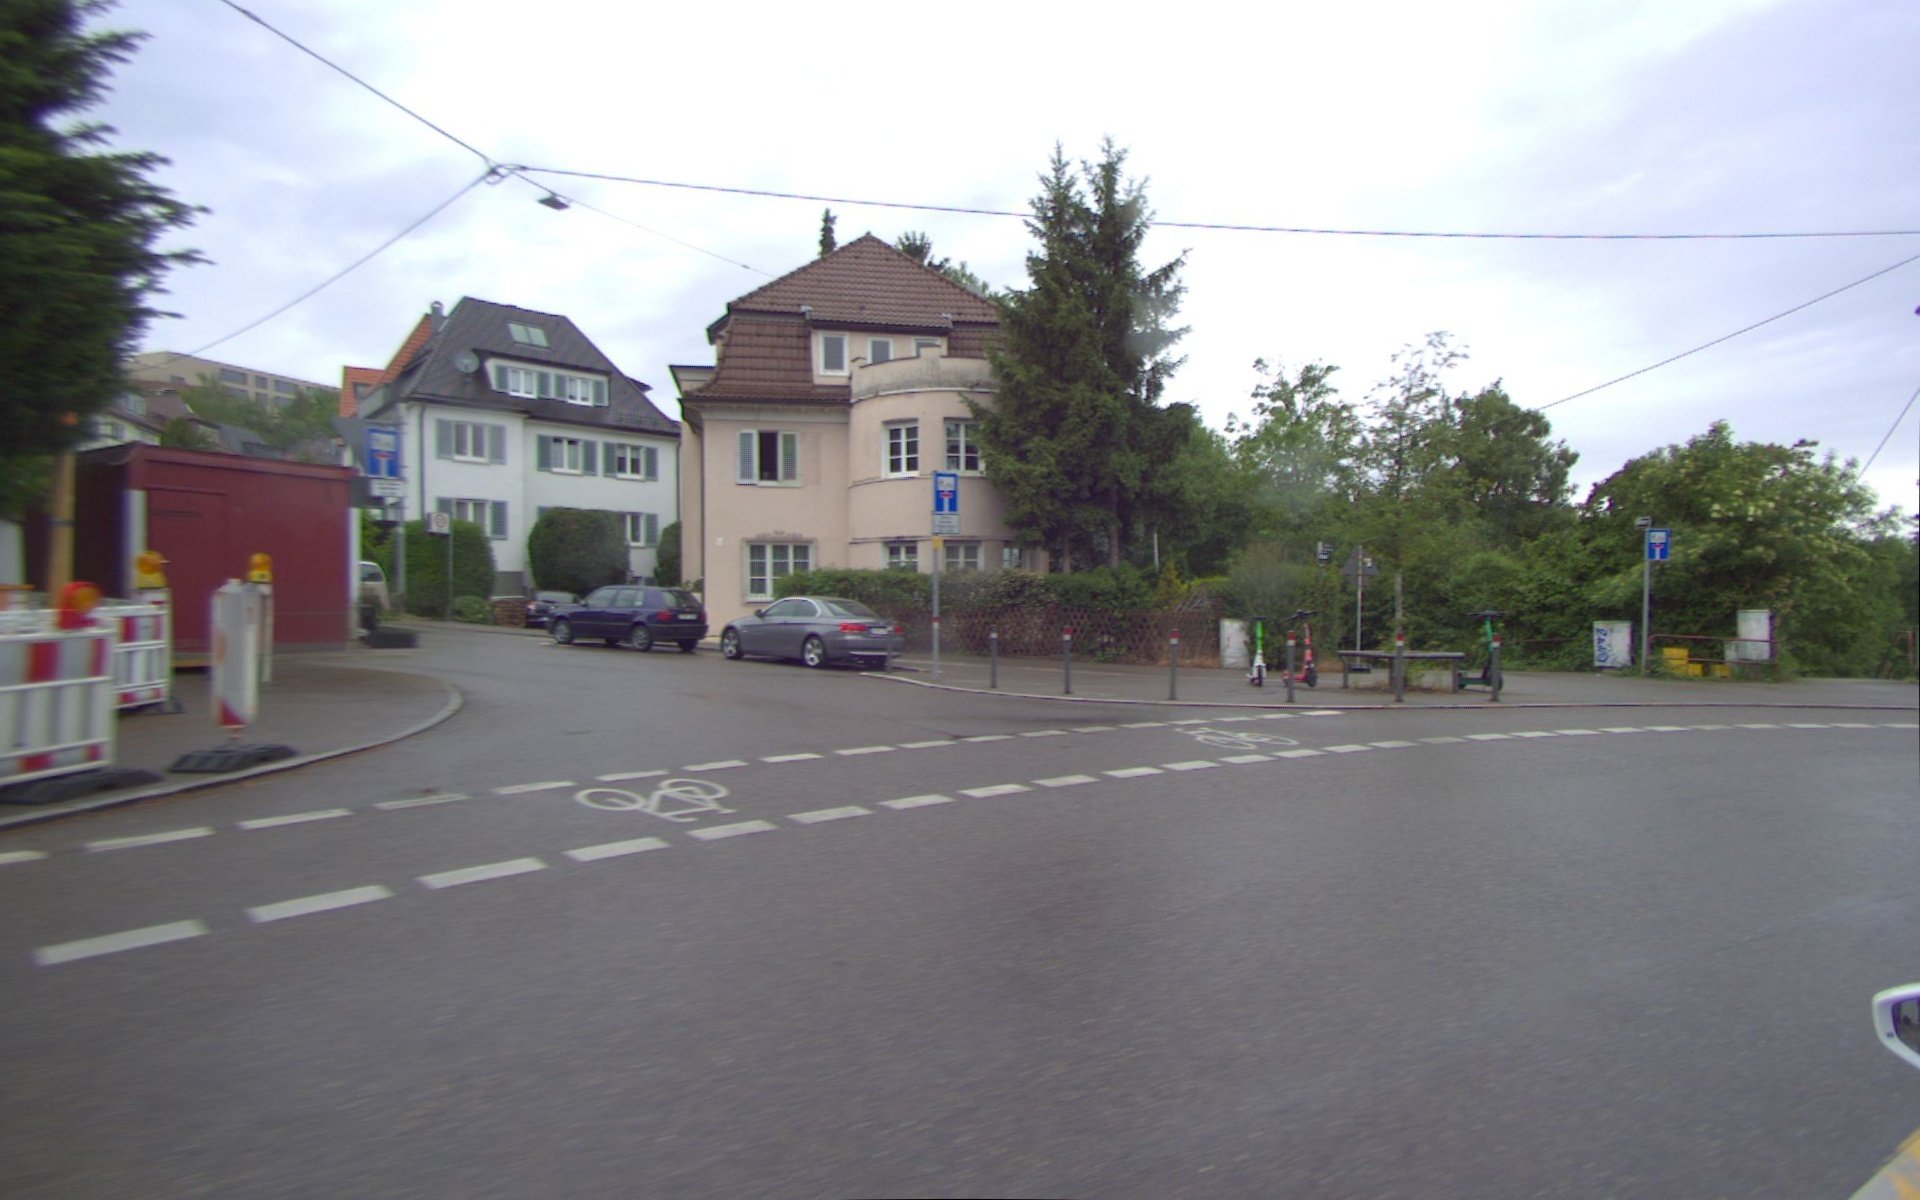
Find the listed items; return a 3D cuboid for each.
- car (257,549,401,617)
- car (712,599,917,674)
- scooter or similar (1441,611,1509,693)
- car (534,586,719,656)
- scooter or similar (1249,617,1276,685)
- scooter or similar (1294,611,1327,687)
[{"bbox_3d":[-17.951,-0.486,28.560,3.930,1.684,1.871,4,1,31],"label":"car"},{"bbox_3d":[-2.977,0.666,20.111,4.138,1.283,1.668,2,0,38],"label":"car"},{"bbox_3d":[8.190,0.808,16.000,0.240,1.234,1.031,1,1,-22],"label":"scooter or similar"},{"bbox_3d":[-7.725,0.442,23.199,4.127,1.421,1.673,1,0,28],"label":"car"},{"bbox_3d":[5.076,0.835,16.882,0.238,1.083,1.037,1,0,7],"label":"scooter or similar"},{"bbox_3d":[5.709,0.784,16.394,0.238,1.180,1.037,1,0,5],"label":"scooter or similar"}]
